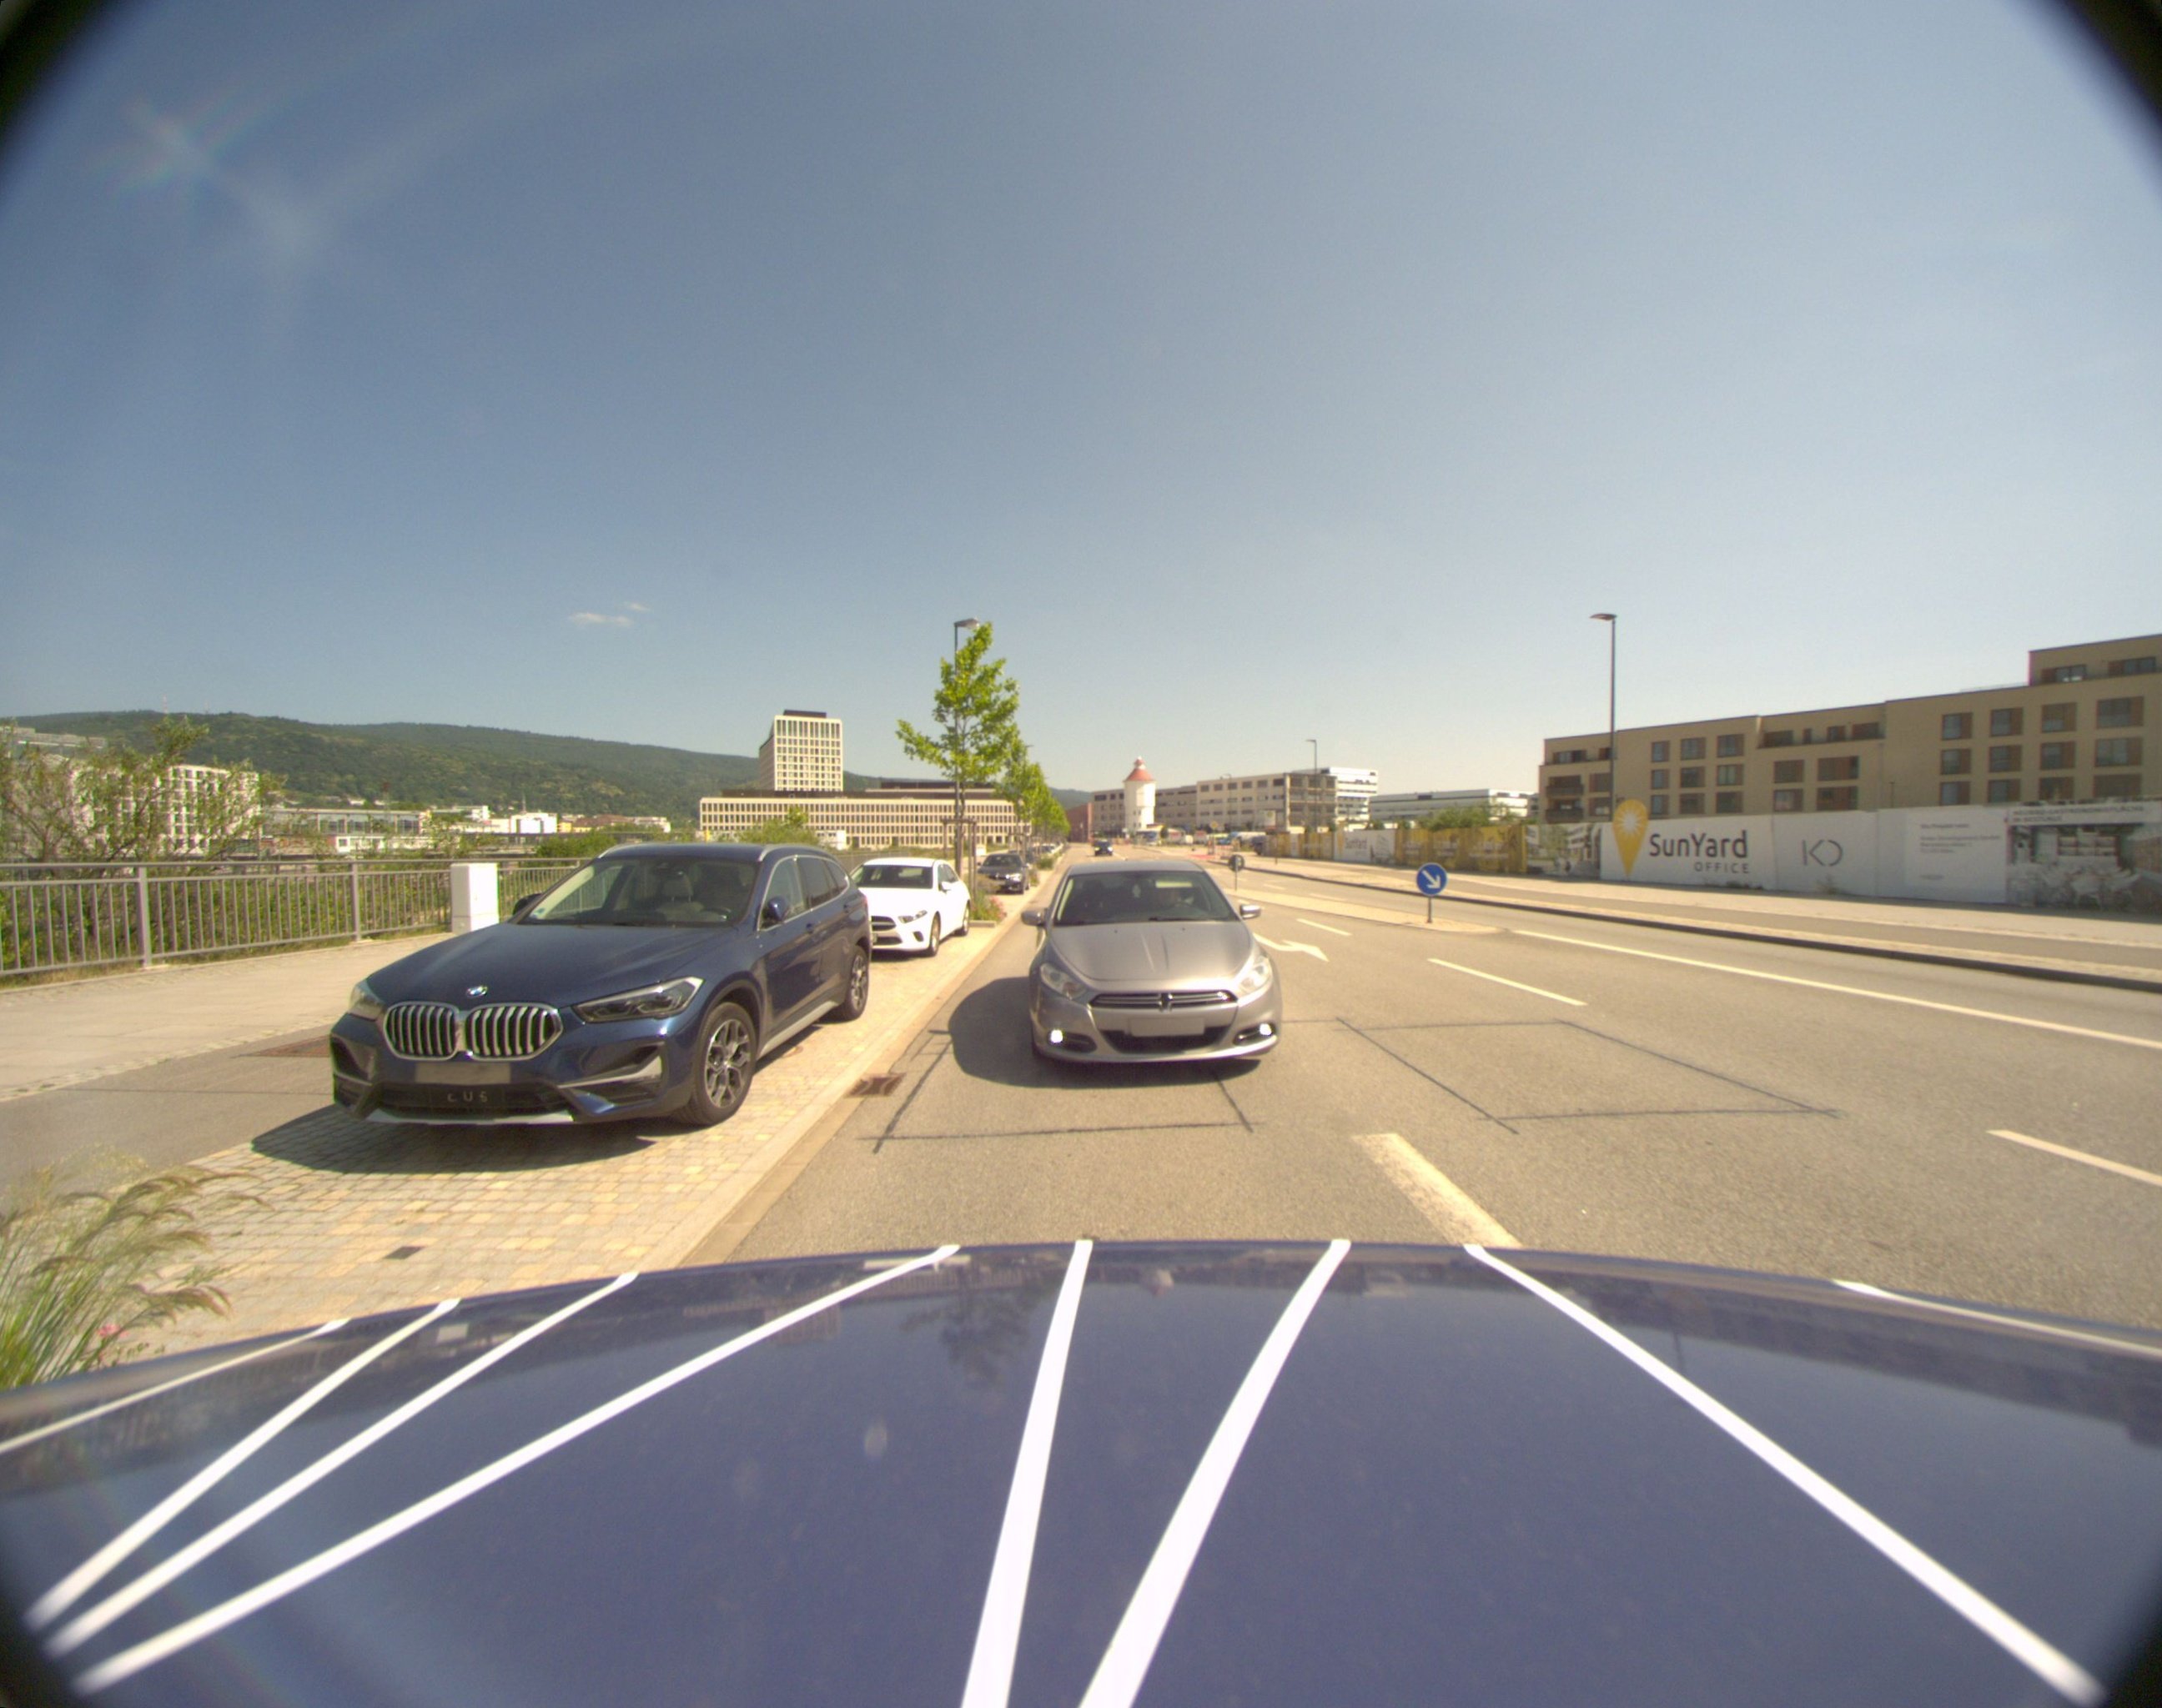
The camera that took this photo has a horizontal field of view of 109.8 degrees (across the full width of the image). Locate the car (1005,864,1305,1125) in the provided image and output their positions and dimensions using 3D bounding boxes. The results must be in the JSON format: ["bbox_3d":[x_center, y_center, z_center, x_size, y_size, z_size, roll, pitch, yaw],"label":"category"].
[{"bbox_3d":[0.495,0.901,6.867,1.820,1.458,4.346,-1,1,1],"label":"car"}]

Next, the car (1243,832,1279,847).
[{"bbox_3d":[22.858,-1.848,96.554,3.930,1.708,1.891,-3,1,-5],"label":"car"}]

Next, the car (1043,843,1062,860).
[{"bbox_3d":[-2.596,-0.273,70.585,1.526,1.482,3.504,-3,1,0],"label":"car"}]

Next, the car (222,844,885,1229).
[{"bbox_3d":[-2.886,0.786,5.509,1.808,1.674,4.270,1,1,0],"label":"car"}]

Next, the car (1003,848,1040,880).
[{"bbox_3d":[-2.918,0.461,37.778,1.569,1.465,3.006,2,1,0],"label":"car"}]

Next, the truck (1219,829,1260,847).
[{"bbox_3d":[23.578,-2.432,113.322,5.633,2.461,1.999,-3,1,-4],"label":"truck"}]

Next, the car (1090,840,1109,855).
[{"bbox_3d":[1.980,-0.732,80.542,1.819,1.458,4.347,-3,1,2],"label":"car"}]

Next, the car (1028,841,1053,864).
[{"bbox_3d":[-3.233,-0.144,60.991,1.768,1.609,3.374,-3,1,0],"label":"car"}]

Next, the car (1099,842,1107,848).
[{"bbox_3d":[5.426,-2.273,185.083,1.819,1.458,3.876,-1,1,2],"label":"car"}]

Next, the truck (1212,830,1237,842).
[{"bbox_3d":[33.411,-4.150,177.304,5.333,2.461,1.999,-3,1,-4],"label":"truck"}]

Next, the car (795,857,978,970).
[{"bbox_3d":[-2.922,0.817,12.397,1.710,1.366,4.270,2,1,2],"label":"car"}]

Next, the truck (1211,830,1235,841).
[{"bbox_3d":[34.630,-4.560,185.344,5.412,2.461,1.999,-2,1,-2],"label":"truck"}]

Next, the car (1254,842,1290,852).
[{"bbox_3d":[19.648,-0.723,78.084,3.359,0.947,1.293,-2,1,3],"label":"car"}]

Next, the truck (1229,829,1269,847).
[{"bbox_3d":[23.391,-2.235,105.875,5.005,2.215,1.999,-2,1,-1],"label":"truck"}]

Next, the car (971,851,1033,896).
[{"bbox_3d":[-2.822,0.641,27.790,1.808,1.424,3.915,2,1,0],"label":"car"}]

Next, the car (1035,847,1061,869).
[{"bbox_3d":[-2.170,0.241,50.436,1.490,1.302,3.154,2,1,0],"label":"car"}]
